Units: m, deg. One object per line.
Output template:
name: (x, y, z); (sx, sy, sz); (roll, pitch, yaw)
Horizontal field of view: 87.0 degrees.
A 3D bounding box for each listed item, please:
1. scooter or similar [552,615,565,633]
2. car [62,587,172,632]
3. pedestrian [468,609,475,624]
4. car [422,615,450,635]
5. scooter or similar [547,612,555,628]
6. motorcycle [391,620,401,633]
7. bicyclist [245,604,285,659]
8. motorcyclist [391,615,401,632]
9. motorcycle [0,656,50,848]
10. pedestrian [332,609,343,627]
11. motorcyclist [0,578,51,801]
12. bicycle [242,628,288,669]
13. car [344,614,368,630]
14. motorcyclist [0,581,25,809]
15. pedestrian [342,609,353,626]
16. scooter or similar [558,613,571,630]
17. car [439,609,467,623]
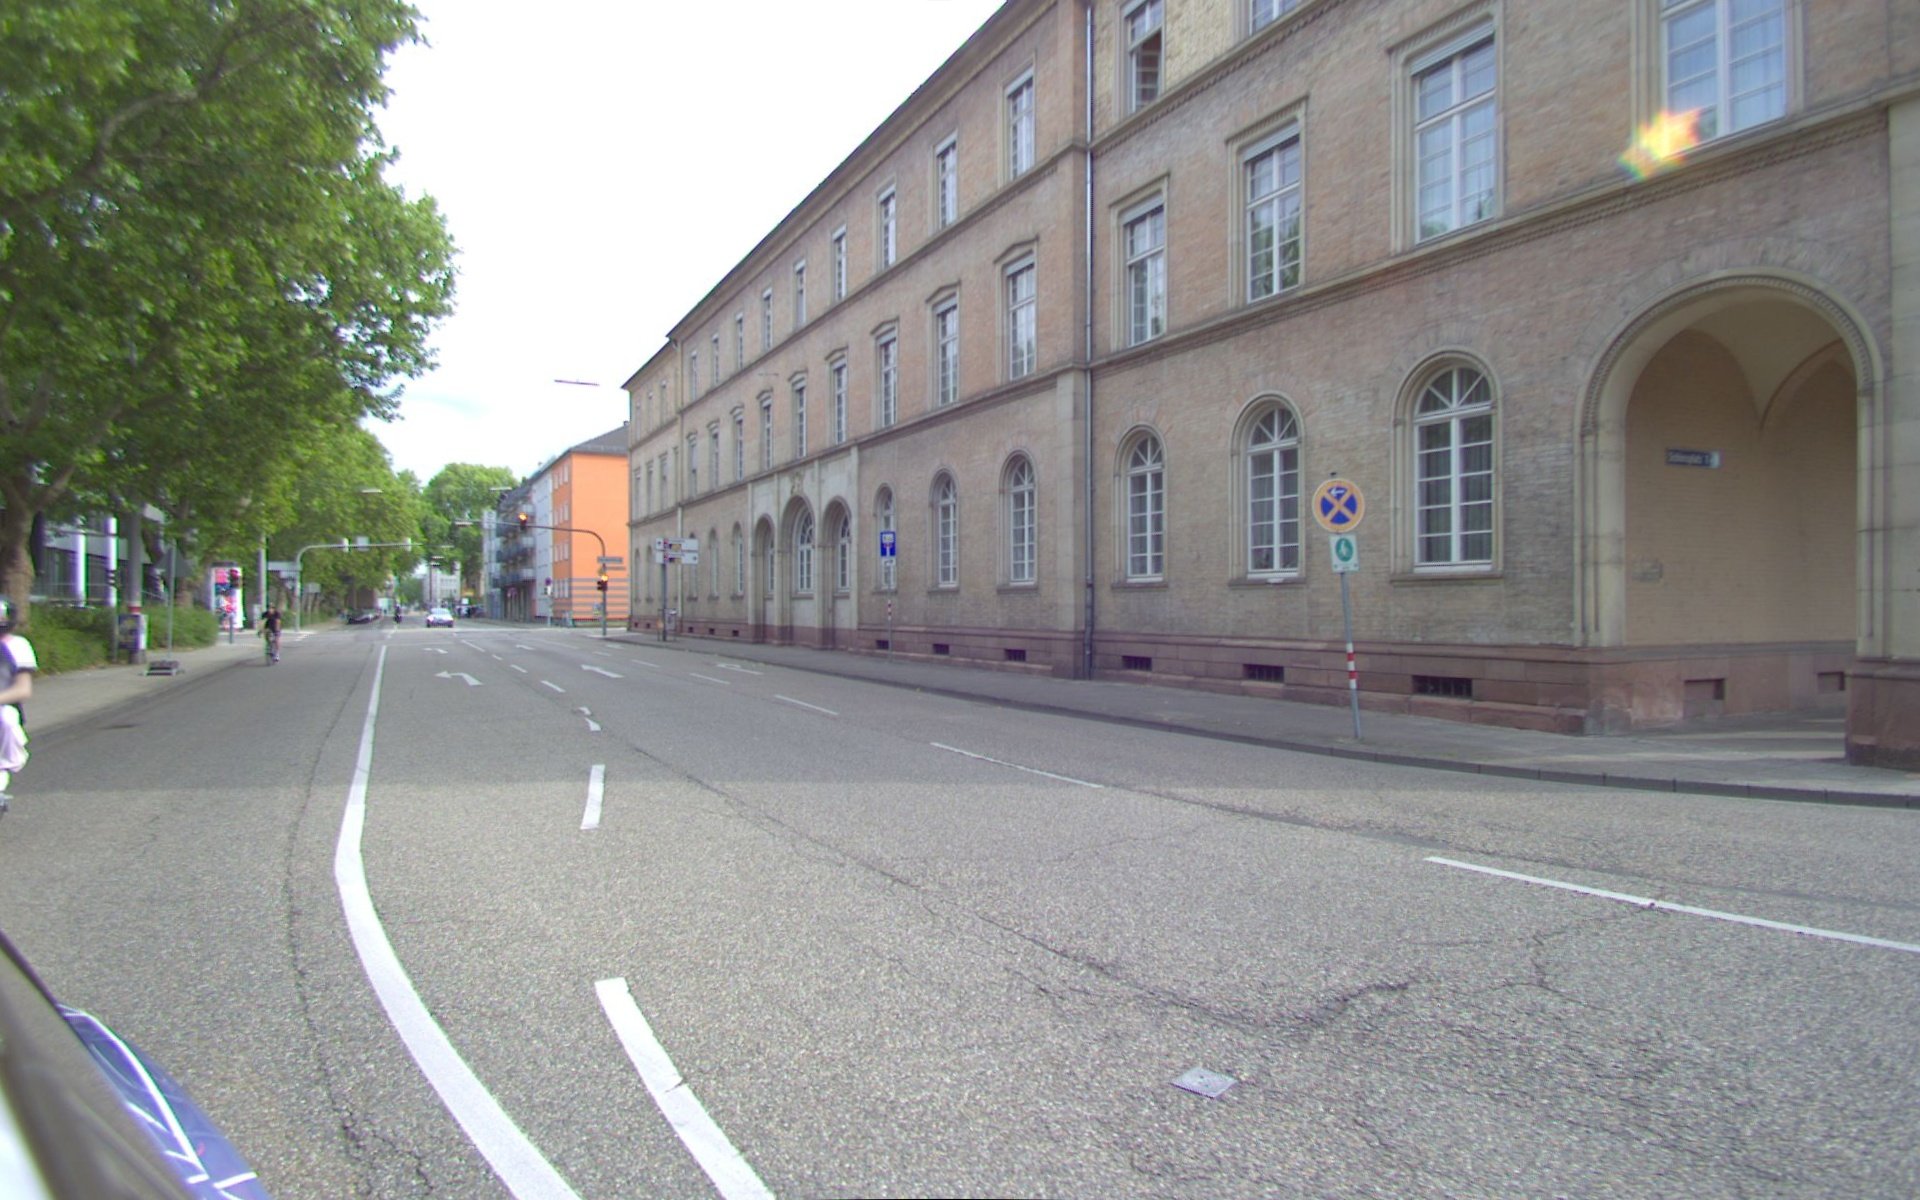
scooter or similar: (-27.383, 1.635, 68.975); (0.325, 1.188, 1.344); (-2, 0, -42)
car: (-41.513, 0.458, 49.968); (3.934, 2.029, 2.005); (-2, 0, -35)
pedestrian: (-65.929, 2.238, 136.552); (0.829, 2.029, 0.878); (-2, 0, -25)
car: (-38.742, 1.857, 74.783); (1.645, 1.449, 3.832); (0, -1, -30)
scooter or similar: (-30.360, 1.467, 75.188); (0.363, 1.132, 1.358); (-2, 0, -29)
motorcycle: (-55.756, 2.625, 100.065); (0.769, 1.187, 1.998); (-1, -1, -33)
bicyclist: (-19.043, 0.855, 27.749); (0.771, 1.458, 0.917); (-2, 0, -29)
motorcyclist: (-55.776, 2.297, 100.078); (0.769, 1.673, 1.116); (-1, -1, -33)
motorcycle: (-6.434, 0.992, 6.212); (0.768, 1.187, 1.999); (-1, 0, -27)
pedestrian: (-73.863, 2.124, 120.052); (0.987, 2.029, 1.001); (-2, 0, -28)
motorcyclist: (-6.637, 0.590, 6.686); (0.768, 1.438, 0.691); (-1, 0, -27)
bicycle: (-19.019, 1.300, 27.726); (0.758, 1.022, 2.415); (-2, 0, -28)
car: (-62.974, 2.312, 105.560); (1.966, 1.553, 4.285); (-2, 0, -28)
motorcyclist: (-6.415, 0.605, 6.236); (0.768, 1.438, 0.766); (-1, 0, -27)
pedestrian: (-72.941, 2.090, 120.463); (0.987, 2.029, 1.001); (-2, 0, -28)
scooter or similar: (-27.022, 1.468, 69.177); (0.325, 1.166, 1.355); (-2, 0, -42)
car: (-81.894, 2.617, 163.524); (3.932, 2.029, 2.006); (-2, 0, -30)
